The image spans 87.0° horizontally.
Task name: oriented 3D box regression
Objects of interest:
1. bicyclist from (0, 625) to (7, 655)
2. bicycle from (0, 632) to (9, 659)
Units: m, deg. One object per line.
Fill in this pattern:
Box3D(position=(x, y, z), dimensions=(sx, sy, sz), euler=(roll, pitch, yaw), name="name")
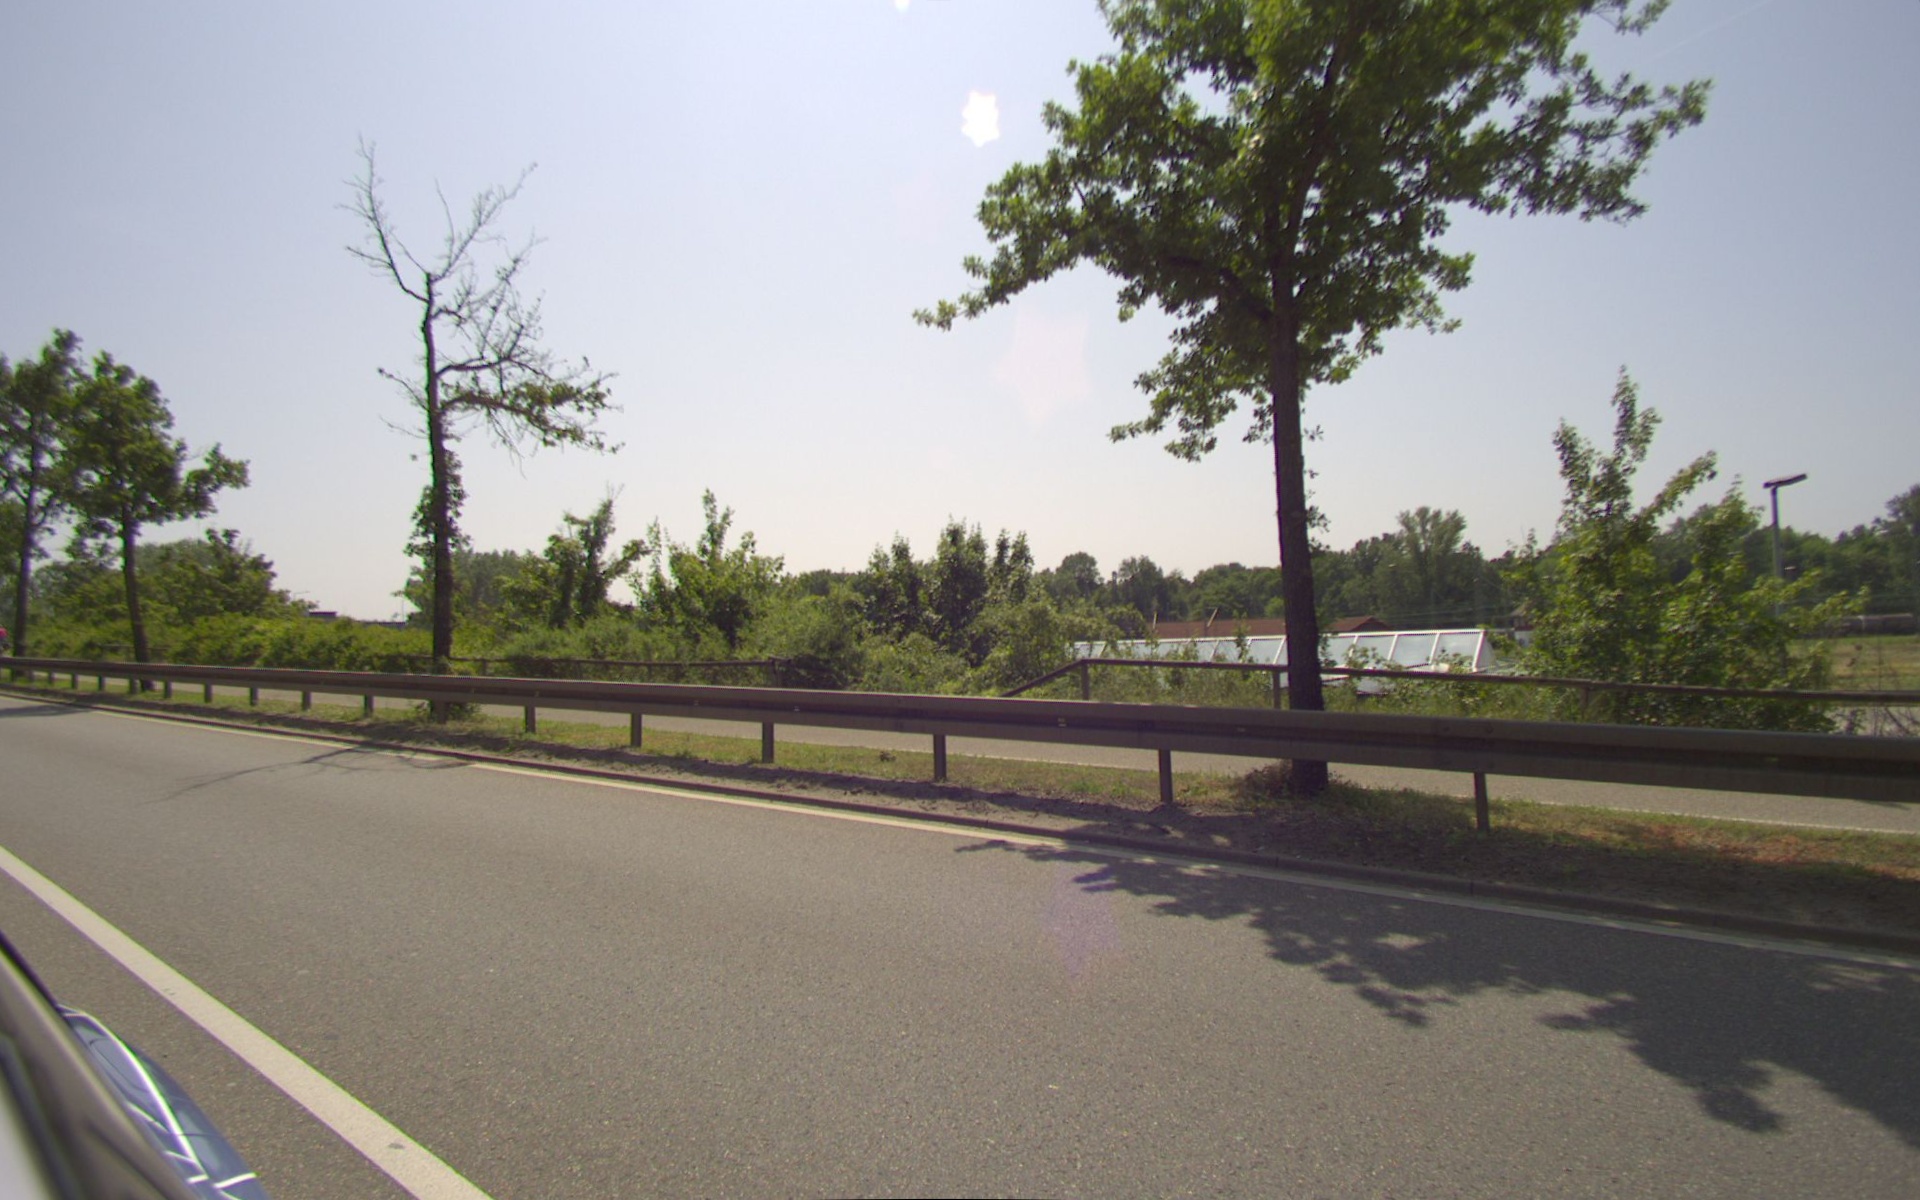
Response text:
Box3D(position=(-47.813, 1.996, 50.143), dimensions=(0.732, 1.500, 0.758), euler=(1, -2, -37), name="bicyclist")
Box3D(position=(-47.673, 2.234, 50.002), dimensions=(0.724, 1.291, 2.050), euler=(1, -2, -37), name="bicycle")
